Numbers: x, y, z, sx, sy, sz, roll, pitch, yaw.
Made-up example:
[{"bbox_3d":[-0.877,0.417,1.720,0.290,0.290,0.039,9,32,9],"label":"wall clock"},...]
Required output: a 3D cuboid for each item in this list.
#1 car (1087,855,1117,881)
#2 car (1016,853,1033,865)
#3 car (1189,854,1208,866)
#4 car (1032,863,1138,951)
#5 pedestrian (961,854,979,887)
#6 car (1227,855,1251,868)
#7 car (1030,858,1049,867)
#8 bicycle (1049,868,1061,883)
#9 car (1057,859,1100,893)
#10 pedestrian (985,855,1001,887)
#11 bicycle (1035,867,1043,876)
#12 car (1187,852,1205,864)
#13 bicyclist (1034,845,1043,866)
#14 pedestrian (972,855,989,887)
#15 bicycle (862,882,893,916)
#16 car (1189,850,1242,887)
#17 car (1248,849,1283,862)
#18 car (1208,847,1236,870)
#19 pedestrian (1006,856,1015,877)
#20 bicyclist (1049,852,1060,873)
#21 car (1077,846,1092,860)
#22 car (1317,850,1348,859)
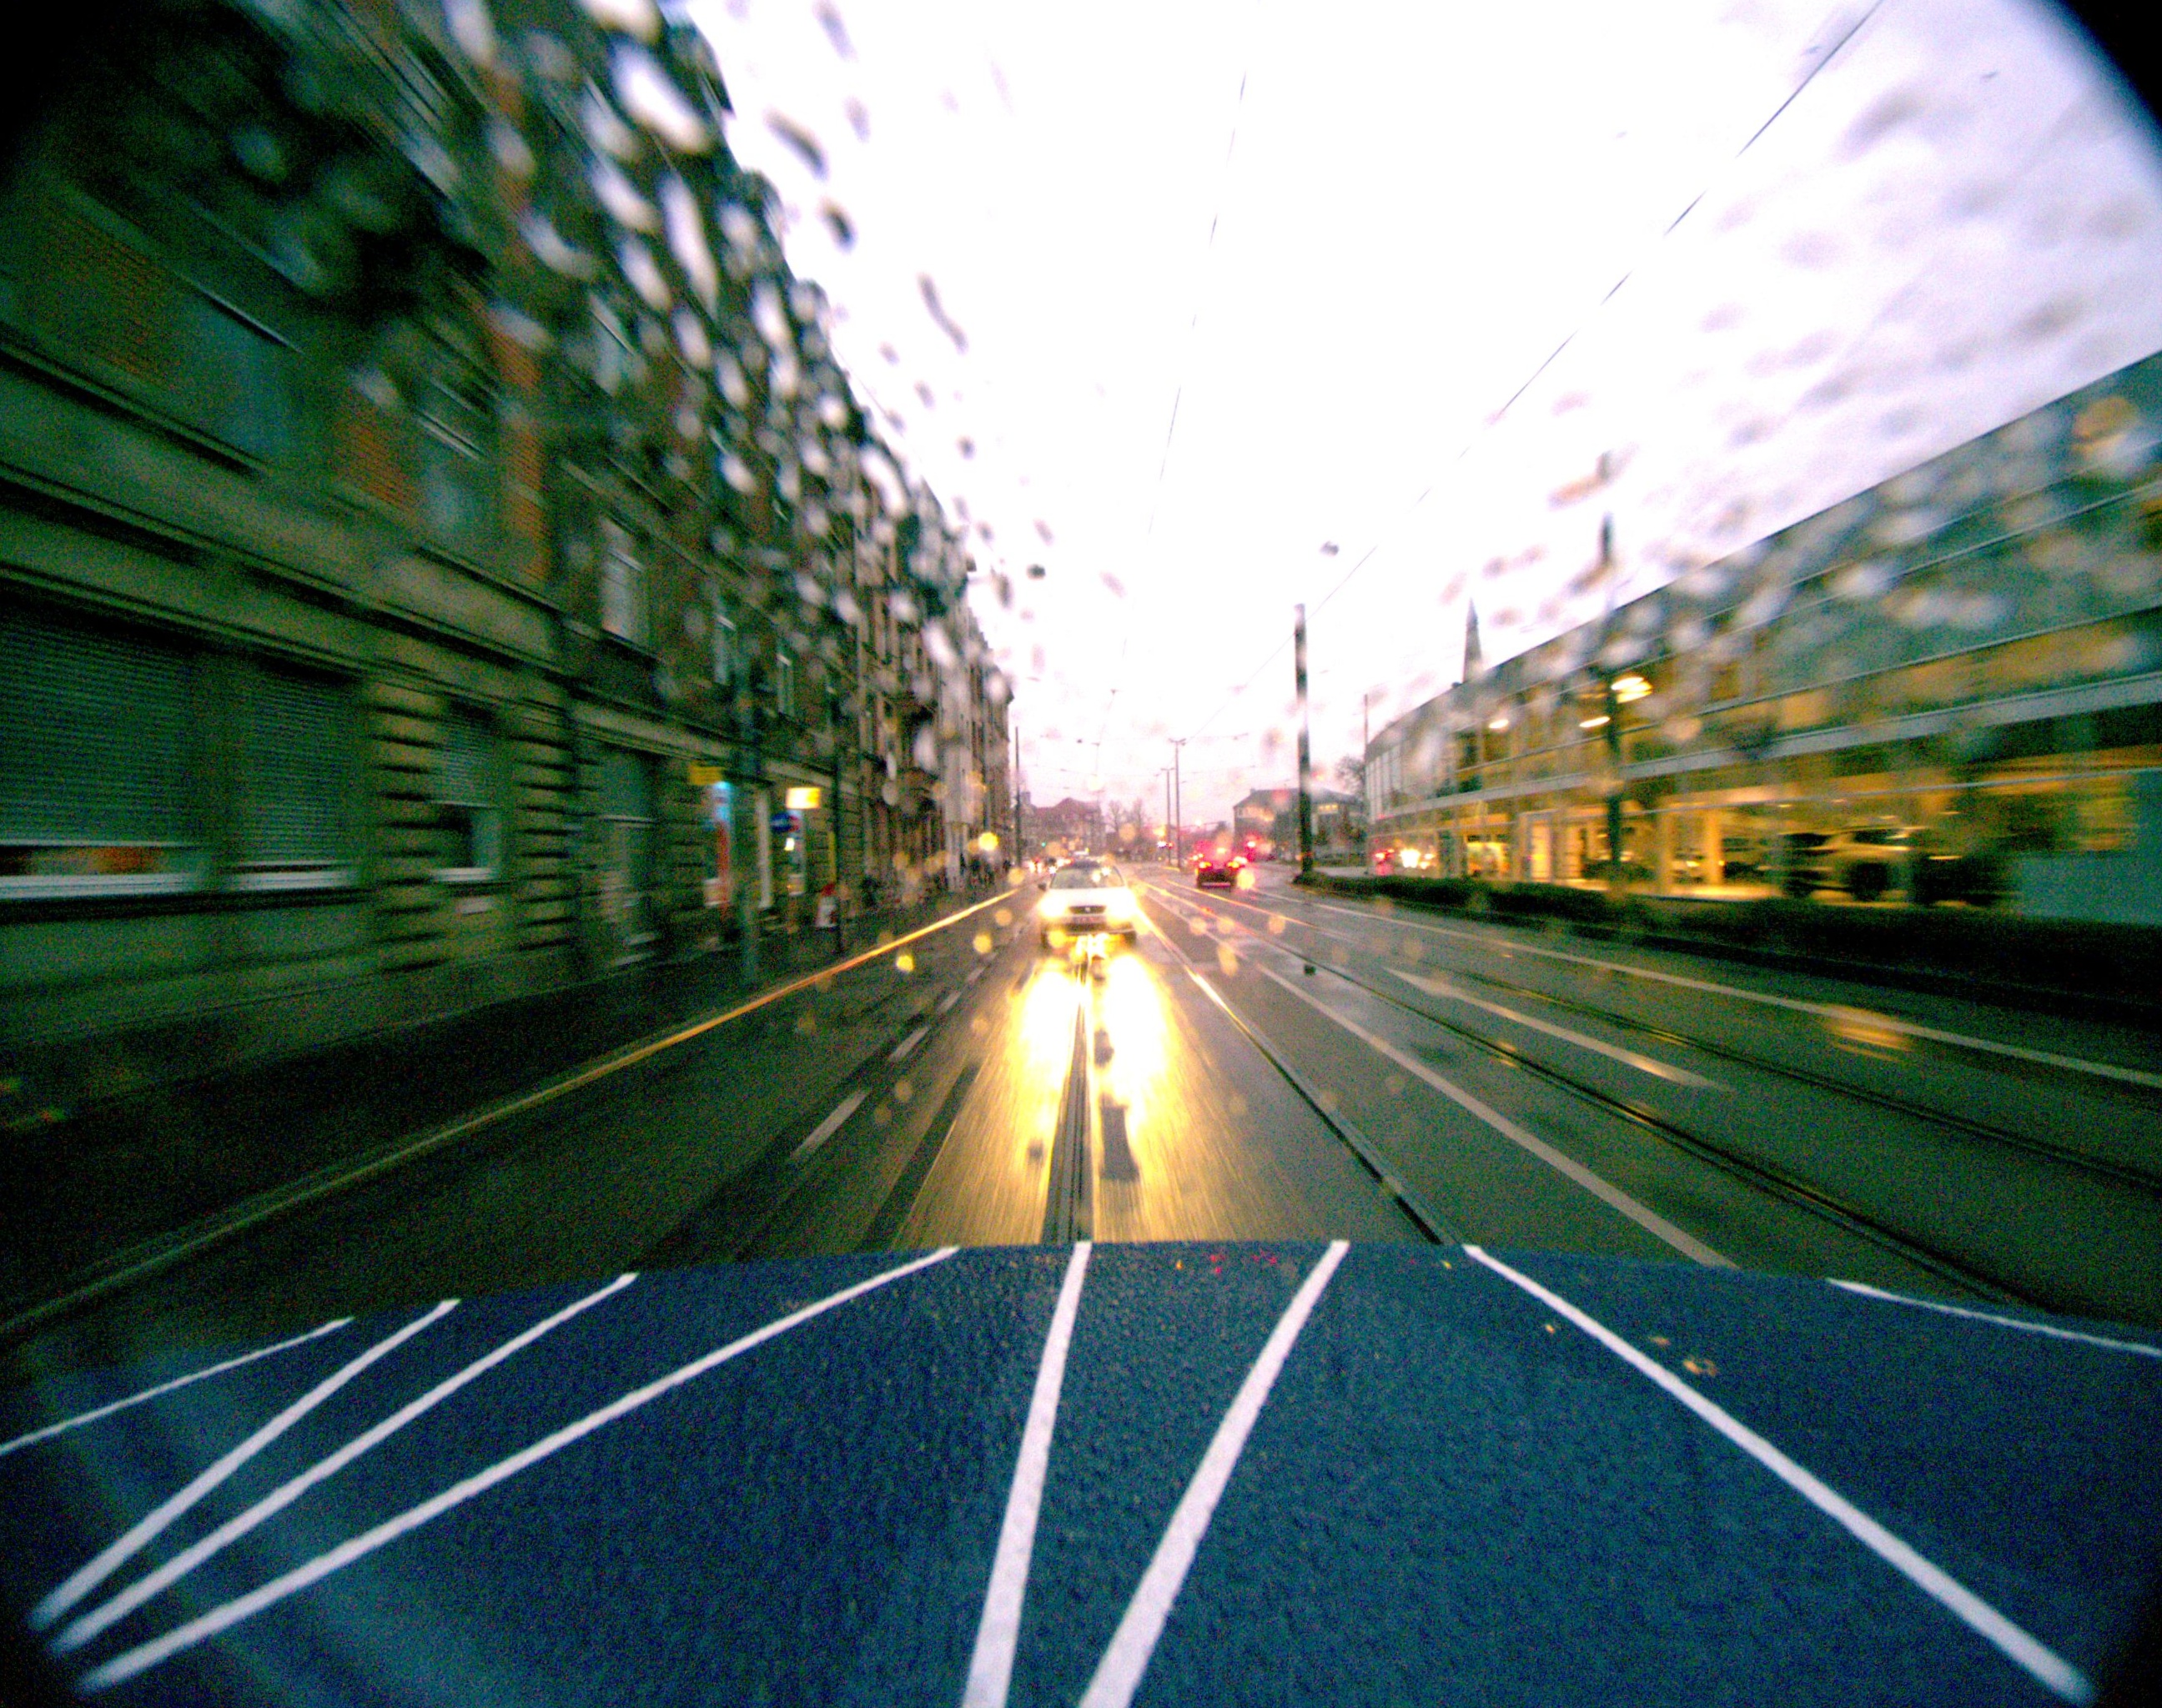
[{"bbox_3d":[1.359,0.852,49.739,1.824,1.565,4.000,-2,0,1],"label":"car"},{"bbox_3d":[-9.308,0.843,125.351,1.997,1.827,4.873,-2,0,6],"label":"car"},{"bbox_3d":[14.219,0.740,92.025,1.876,1.382,4.001,0,0,4],"label":"car"},{"bbox_3d":[0.167,0.951,15.226,1.797,1.415,4.000,-2,0,3],"label":"car"},{"bbox_3d":[-5.892,0.862,40.357,0.777,1.734,0.673,-1,1,1],"label":"pedestrian"},{"bbox_3d":[17.839,0.829,86.096,1.998,1.413,4.588,-2,0,4],"label":"car"},{"bbox_3d":[-7.241,1.440,133.178,1.825,1.499,3.809,-2,0,19],"label":"car"},{"bbox_3d":[-1.948,1.612,57.313,0.725,0.985,2.212,-2,0,0],"label":"bicycle"},{"bbox_3d":[-0.076,0.979,35.772,1.797,1.415,4.000,-2,0,3],"label":"car"},{"bbox_3d":[-4.775,0.922,41.333,0.777,1.734,0.673,-1,1,1],"label":"pedestrian"},{"bbox_3d":[-3.750,1.548,68.428,0.609,0.757,1.860,-1,1,-1],"label":"bicycle"},{"bbox_3d":[14.926,0.476,98.996,1.904,1.477,4.001,-2,0,3],"label":"car"},{"bbox_3d":[-3.796,0.147,68.361,0.747,1.869,1.111,-1,1,-1],"label":"bicyclist"},{"bbox_3d":[-5.635,0.944,42.579,0.777,1.734,0.673,-1,1,1],"label":"pedestrian"},{"bbox_3d":[-6.098,1.326,22.871,0.398,0.905,1.866,-1,0,1],"label":"bicycle"},{"bbox_3d":[6.181,0.644,35.459,1.845,1.569,4.443,-1,0,2],"label":"car"},{"bbox_3d":[31.445,0.278,129.649,5.558,2.002,1.996,-2,1,-21],"label":"car"},{"bbox_3d":[13.194,0.380,71.379,1.998,2.002,4.686,-2,1,5],"label":"car"},{"bbox_3d":[-5.319,0.913,57.193,0.633,1.539,0.710,-2,1,-5],"label":"pedestrian"},{"bbox_3d":[-1.979,0.643,57.250,0.727,1.525,0.785,-2,1,0],"label":"bicyclist"},{"bbox_3d":[0.494,-0.178,105.359,2.018,1.809,3.688,-2,1,1],"label":"car"},{"bbox_3d":[38.486,0.058,116.262,2.003,1.302,3.990,-3,1,-36],"label":"car"}]
